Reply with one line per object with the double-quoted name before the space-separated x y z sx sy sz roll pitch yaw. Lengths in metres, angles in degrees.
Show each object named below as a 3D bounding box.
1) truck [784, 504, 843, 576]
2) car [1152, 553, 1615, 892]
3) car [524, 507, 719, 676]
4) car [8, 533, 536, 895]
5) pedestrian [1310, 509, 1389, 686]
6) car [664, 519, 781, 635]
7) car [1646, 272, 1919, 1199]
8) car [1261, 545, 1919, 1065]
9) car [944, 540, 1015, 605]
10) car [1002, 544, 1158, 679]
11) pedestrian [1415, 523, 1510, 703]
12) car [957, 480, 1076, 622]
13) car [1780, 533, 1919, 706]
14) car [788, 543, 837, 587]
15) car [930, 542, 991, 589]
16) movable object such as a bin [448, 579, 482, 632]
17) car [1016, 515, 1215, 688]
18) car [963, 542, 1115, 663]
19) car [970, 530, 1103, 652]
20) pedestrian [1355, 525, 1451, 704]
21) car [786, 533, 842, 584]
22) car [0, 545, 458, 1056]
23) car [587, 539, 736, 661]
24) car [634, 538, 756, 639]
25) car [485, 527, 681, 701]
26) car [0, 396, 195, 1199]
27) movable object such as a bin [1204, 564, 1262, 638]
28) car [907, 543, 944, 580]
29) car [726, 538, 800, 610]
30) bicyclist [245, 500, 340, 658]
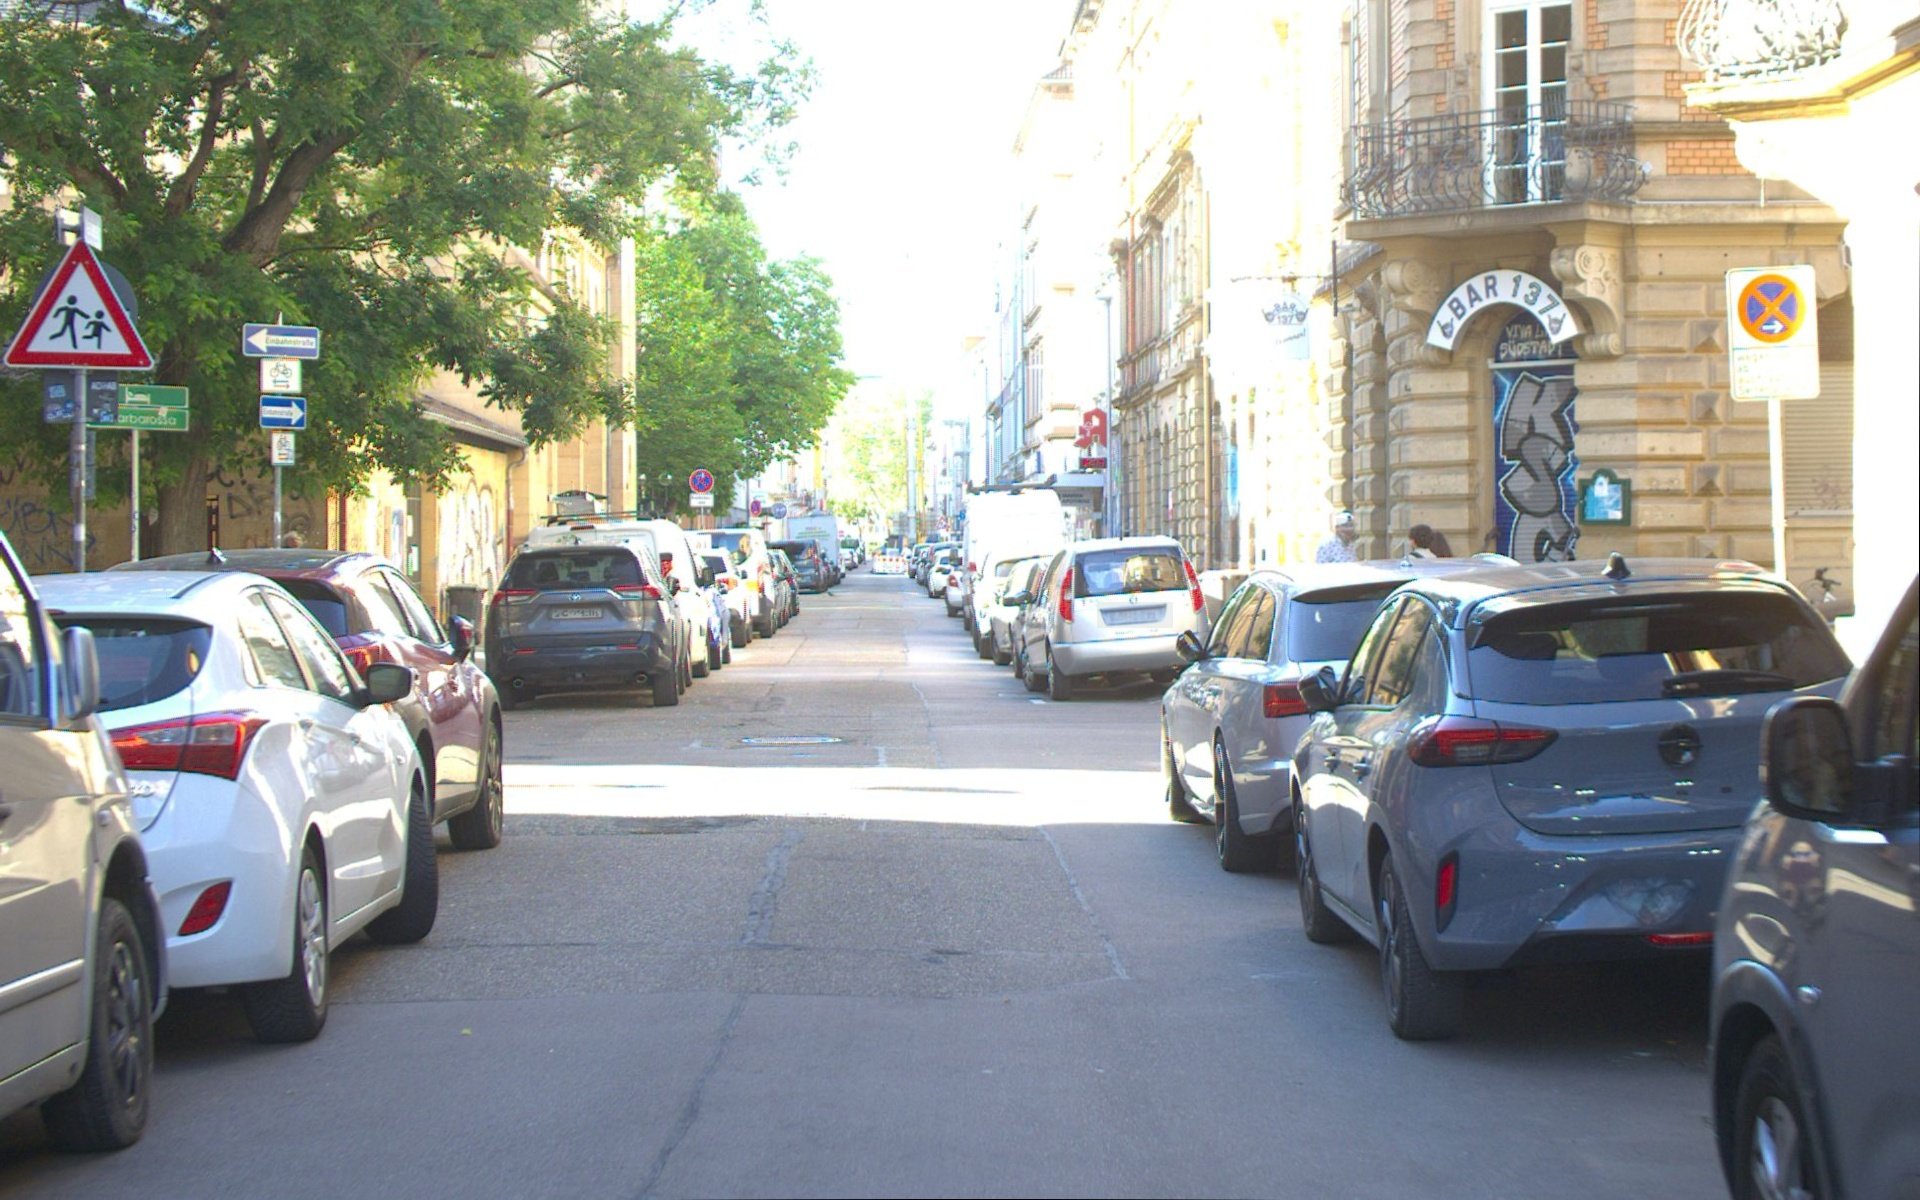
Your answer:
"truck" -6.812 -2.818 160.530 2.532 3.270 6.995 0 1 -1
"car" 2.002 0.513 17.490 1.706 1.454 4.511 1 1 -1
"car" -3.903 -0.149 40.282 1.845 1.856 4.465 0 1 0
"car" -3.117 0.442 16.358 1.722 1.476 4.090 1 1 -1
"pedestrian" 3.869 -0.032 34.185 0.574 1.727 0.664 -2 1 -11
"car" -4.238 -0.439 61.985 1.864 1.950 4.611 -2 1 -2
"car" 2.325 0.506 4.837 1.769 1.954 4.264 1 1 -1
"car" 2.078 0.570 11.998 1.666 1.474 3.888 0 2 -1
"car" 0.455 -0.673 81.749 1.603 1.499 4.000 1 1 0
"car" 1.399 0.098 41.344 1.535 1.508 3.682 -1 1 -3
"pedestrian" 4.621 0.109 31.635 0.574 1.616 0.734 -2 2 -16
"car" 1.038 -0.959 65.946 2.068 2.602 5.888 0 1 -1
"car" 9.368 0.141 30.070 3.980 1.447 1.733 0 2 0
"car" -6.205 -1.485 144.102 1.875 1.790 4.001 0 1 -5
"car" 0.011 -1.115 110.373 1.897 1.483 3.870 0 1 -1
"movable object such as a bin" -7.636 0.077 53.056 0.453 0.805 0.590 0 1 -1
"car" 1.595 -0.024 36.513 1.703 1.708 3.938 -1 1 -3
"car" 1.024 0.001 46.445 1.572 1.520 3.909 2 1 -5
"car" 1.100 -0.144 51.181 1.807 1.684 4.214 2 0 0
"pedestrian" 4.041 0.123 31.395 0.590 1.598 0.727 -2 2 -16
"car" -5.170 -1.500 122.436 1.875 1.790 4.000 0 1 -1
"car" -2.760 0.541 11.681 1.674 1.416 3.875 1 1 -2
"car" -3.909 -0.035 45.512 1.687 1.471 3.860 -2 1 -1
"car" -4.311 -0.223 56.349 1.742 1.581 3.869 -1 1 -1
"car" -3.755 0.093 34.783 1.740 1.641 4.290 0 1 -3
"car" -3.018 0.438 7.026 1.892 1.778 4.608 1 1 -1
"movable object such as a bin" 4.004 0.012 50.450 0.548 1.049 0.603 -4 2 -34
"car" -1.887 -2.096 186.680 1.993 2.007 4.000 0 1 -1
"car" -4.731 -0.641 82.877 1.600 1.608 3.809 -3 1 -2
"bicyclist" -7.428 -0.241 38.276 0.805 1.717 0.692 2 2 7
